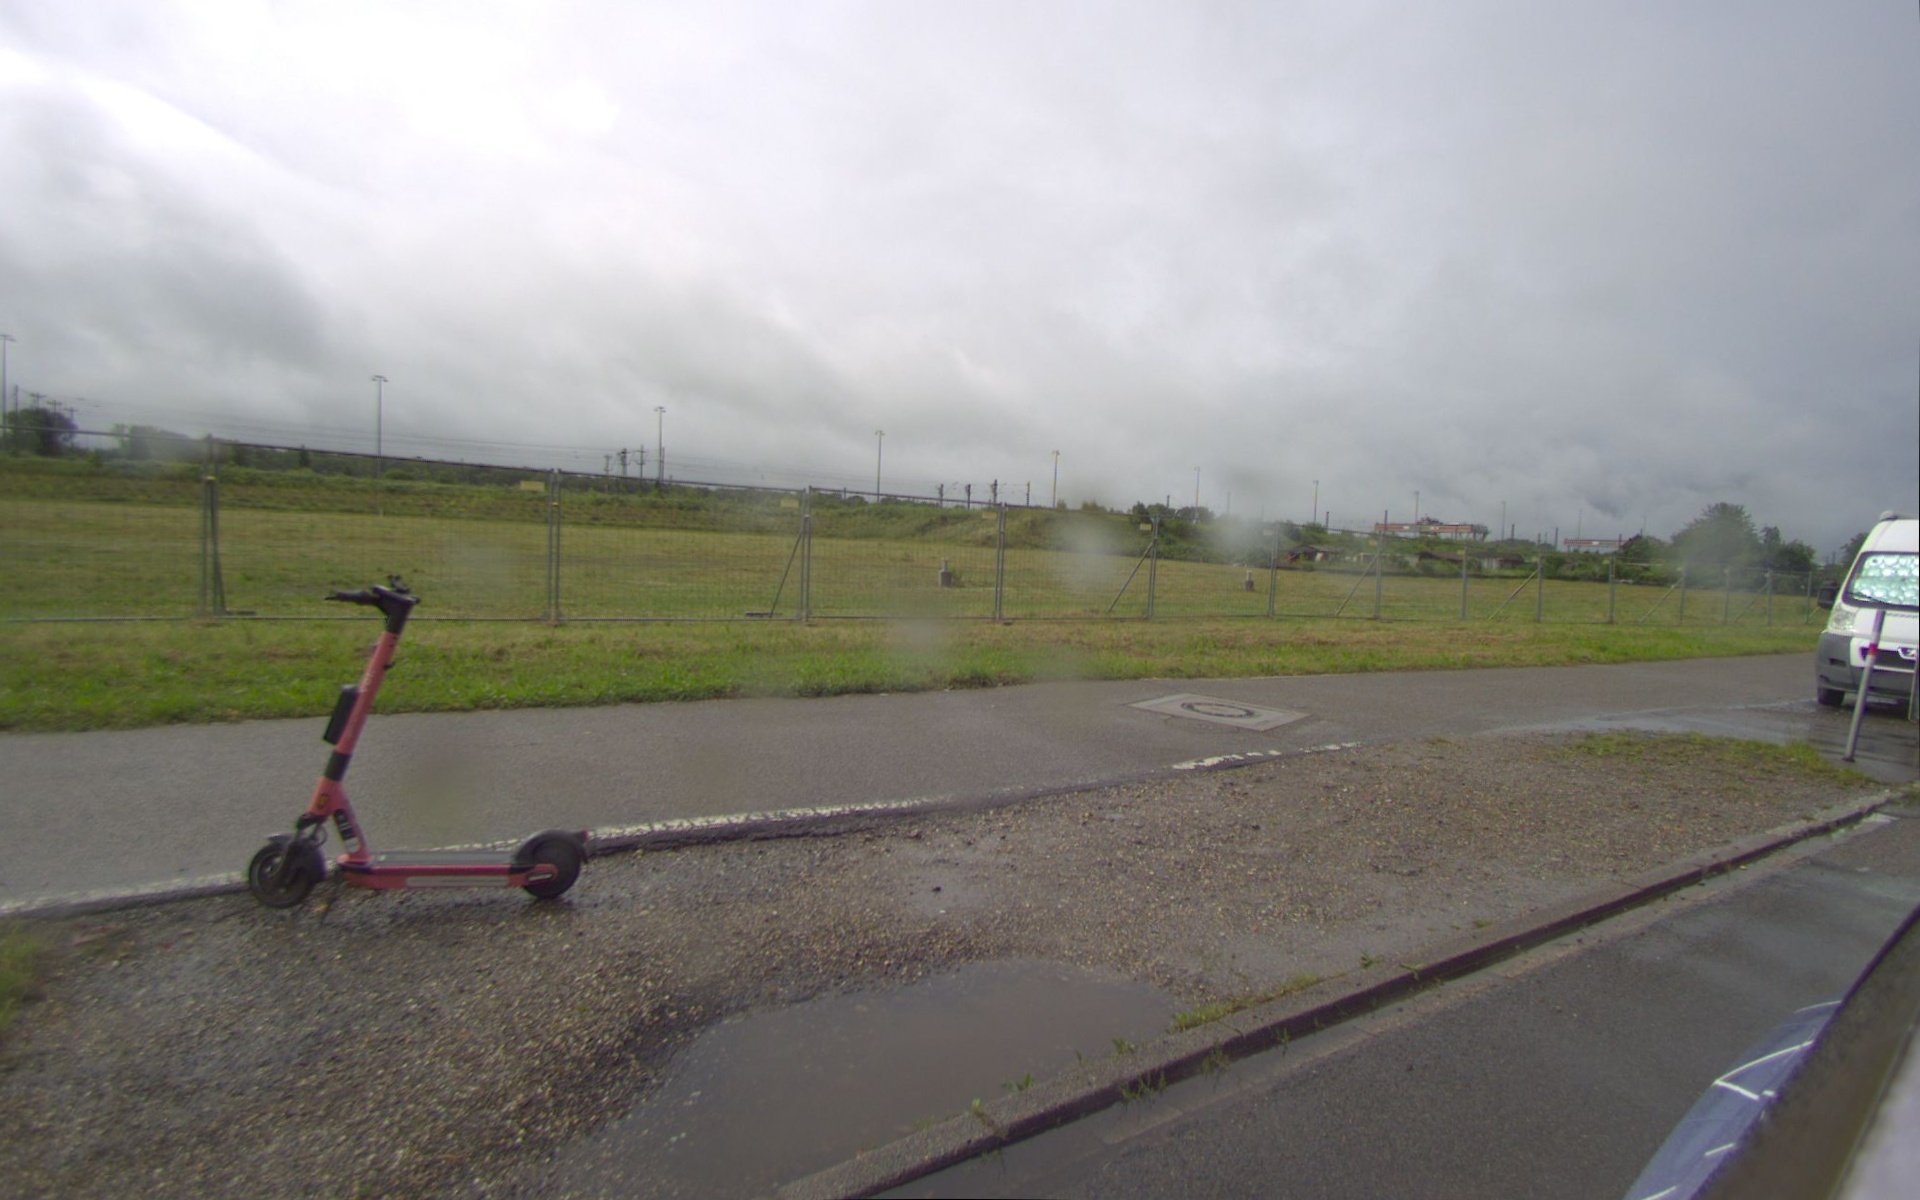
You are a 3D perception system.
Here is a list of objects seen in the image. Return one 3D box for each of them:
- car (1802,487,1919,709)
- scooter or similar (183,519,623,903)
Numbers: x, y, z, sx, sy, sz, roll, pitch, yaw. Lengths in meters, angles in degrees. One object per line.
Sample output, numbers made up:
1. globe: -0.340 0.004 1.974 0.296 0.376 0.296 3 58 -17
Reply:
1. car: 13.361 0.000 13.074 5.833 2.501 2.101 0 5 -34
2. scooter or similar: -1.980 0.356 3.730 1.312 1.229 0.494 1 3 -26
